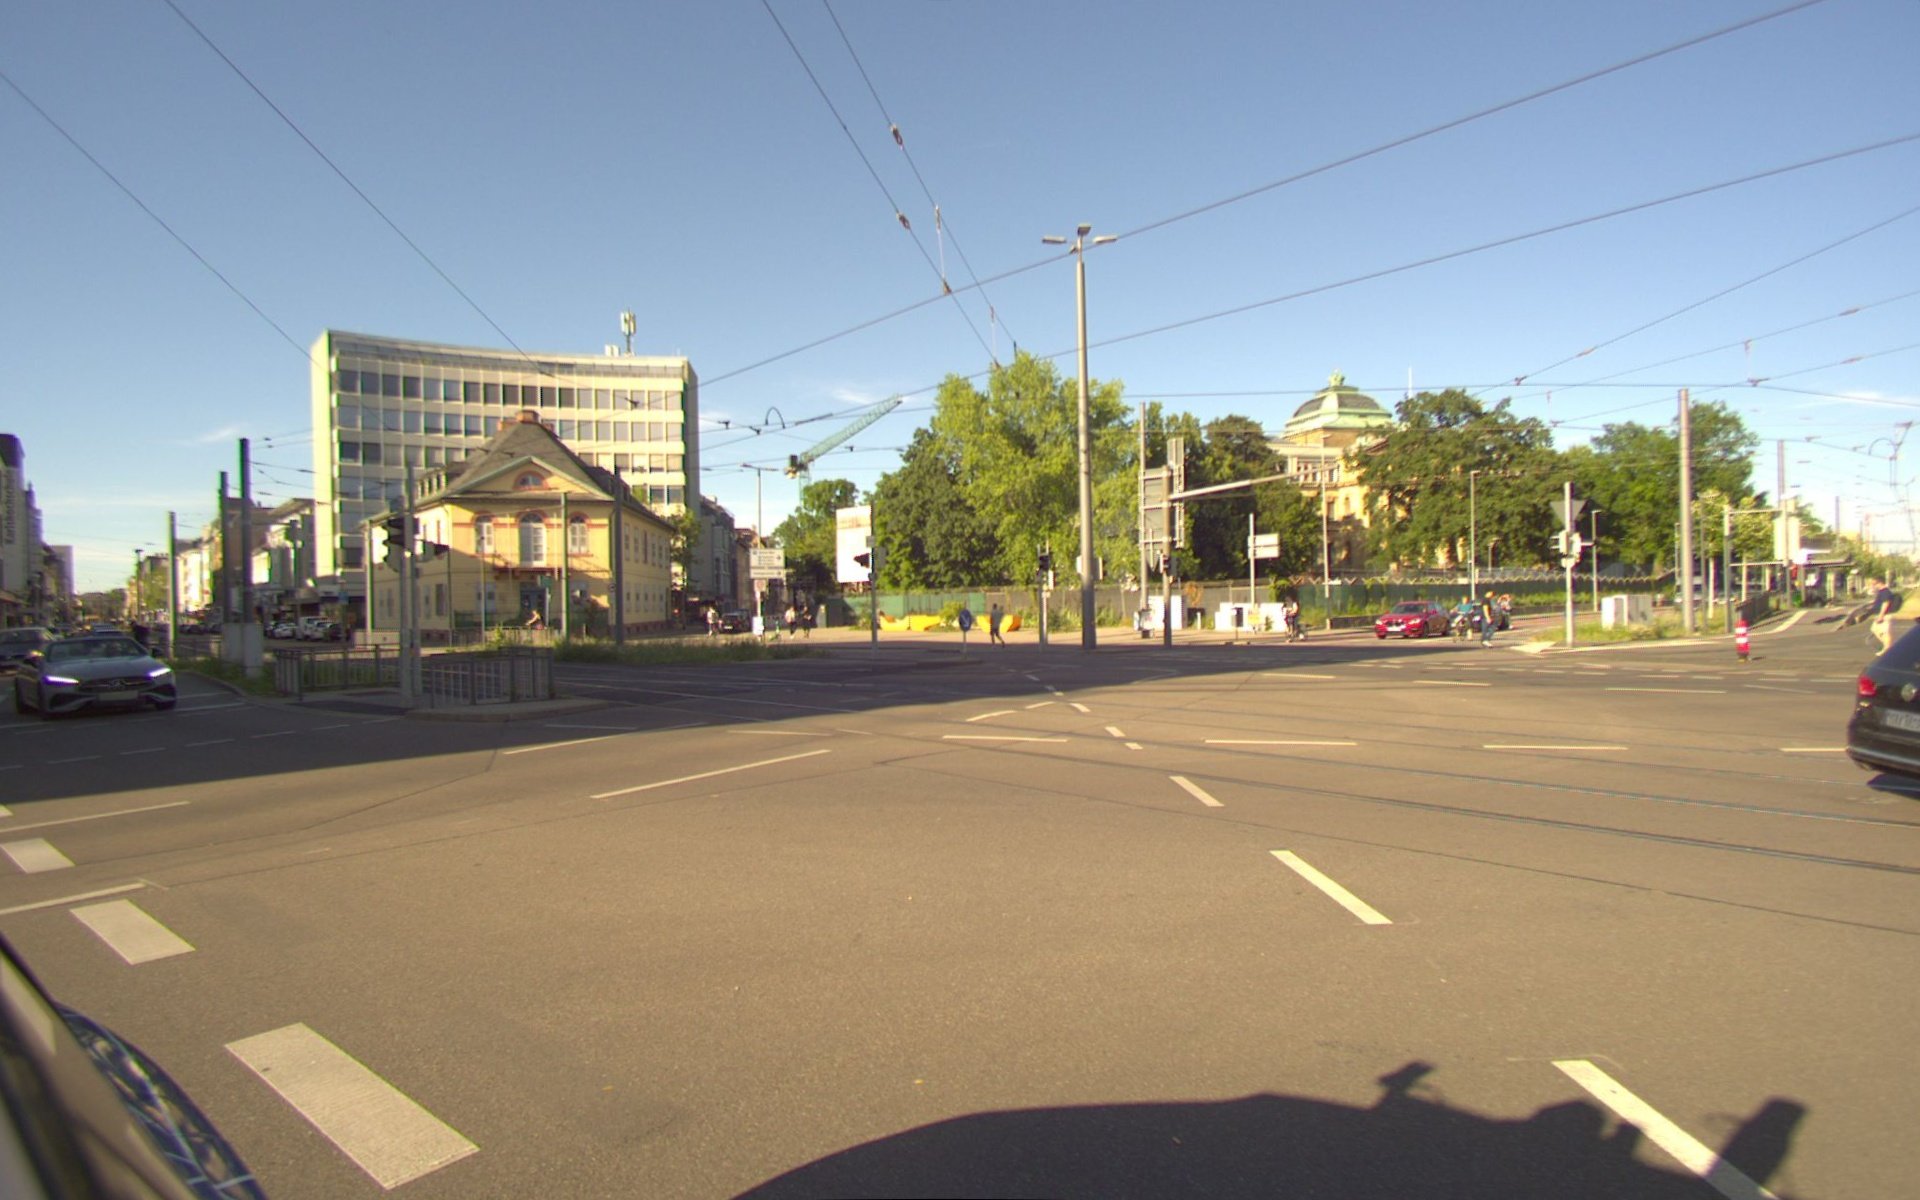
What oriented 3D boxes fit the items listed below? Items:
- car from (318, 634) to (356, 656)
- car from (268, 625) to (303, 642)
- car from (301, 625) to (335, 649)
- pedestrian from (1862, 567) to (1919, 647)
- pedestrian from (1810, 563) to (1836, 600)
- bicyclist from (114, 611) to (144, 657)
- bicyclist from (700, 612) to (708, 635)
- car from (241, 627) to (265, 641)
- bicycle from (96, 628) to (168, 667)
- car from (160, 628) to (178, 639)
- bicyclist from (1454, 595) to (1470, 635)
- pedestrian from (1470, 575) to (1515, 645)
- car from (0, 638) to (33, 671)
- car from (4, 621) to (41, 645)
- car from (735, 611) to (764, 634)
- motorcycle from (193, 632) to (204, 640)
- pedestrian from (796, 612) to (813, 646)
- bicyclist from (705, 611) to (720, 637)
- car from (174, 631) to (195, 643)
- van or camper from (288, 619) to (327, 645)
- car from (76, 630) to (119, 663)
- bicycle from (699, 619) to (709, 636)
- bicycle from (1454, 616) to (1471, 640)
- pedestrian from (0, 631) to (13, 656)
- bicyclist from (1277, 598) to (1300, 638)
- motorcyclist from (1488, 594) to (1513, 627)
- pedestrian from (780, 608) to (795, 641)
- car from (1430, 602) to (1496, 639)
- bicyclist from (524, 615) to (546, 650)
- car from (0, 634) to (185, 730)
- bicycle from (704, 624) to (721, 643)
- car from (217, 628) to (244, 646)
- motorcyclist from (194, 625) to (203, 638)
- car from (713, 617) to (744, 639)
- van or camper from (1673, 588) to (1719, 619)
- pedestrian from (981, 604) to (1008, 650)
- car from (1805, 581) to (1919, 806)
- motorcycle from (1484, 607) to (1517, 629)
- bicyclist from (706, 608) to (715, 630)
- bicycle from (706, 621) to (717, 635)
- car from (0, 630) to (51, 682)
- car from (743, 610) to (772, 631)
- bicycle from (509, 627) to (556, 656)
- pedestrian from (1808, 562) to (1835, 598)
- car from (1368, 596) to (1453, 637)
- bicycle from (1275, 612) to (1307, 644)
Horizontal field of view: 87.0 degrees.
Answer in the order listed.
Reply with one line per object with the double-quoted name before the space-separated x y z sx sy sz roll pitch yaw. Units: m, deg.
"car" -45.941 3.294 74.571 1.755 1.449 3.967 -4 2 -40
"car" -62.179 3.053 93.266 1.904 1.463 4.296 -4 2 -44
"car" -49.988 2.864 78.791 1.754 1.632 4.184 -4 1 -38
"pedestrian" 20.473 0.152 22.213 0.930 1.723 0.687 -1 0 45
"pedestrian" 48.224 -1.043 56.559 1.088 2.029 1.001 -2 0 41
"bicyclist" -28.487 1.151 34.697 0.634 1.534 0.674 -2 0 41
"bicyclist" -19.168 1.732 75.700 0.513 1.686 0.772 -2 0 -17
"car" -77.697 3.707 111.217 1.760 1.427 3.602 -2 0 -42
"bicycle" -28.426 1.603 34.758 0.641 1.221 1.801 -2 0 41
"car" -112.684 4.807 144.173 1.755 1.521 3.865 0 -2 -41
"bicyclist" 16.870 0.490 34.003 0.399 1.325 0.454 -2 0 35
"pedestrian" 15.155 0.284 28.802 0.713 1.948 0.801 -2 0 -19
"car" -50.007 2.850 53.160 1.754 1.581 3.967 0 -1 -40
"car" -68.433 2.365 73.913 1.756 1.676 4.170 0 -1 -40
"car" -16.843 1.776 81.277 1.775 1.682 3.760 -2 0 -4
"motorcycle" -94.444 4.490 125.528 2.154 0.933 0.593 -1 0 41
"pedestrian" -8.865 1.641 57.584 0.695 1.865 0.742 -2 0 -29
"bicyclist" -14.009 1.363 57.231 0.654 1.465 0.733 -2 0 -23
"car" -99.270 4.731 129.582 1.755 1.521 4.675 0 -2 -42
"van or camper" -53.711 2.589 83.230 1.931 1.988 4.804 -4 2 -41
"car" -47.978 2.563 56.348 1.756 1.676 3.967 0 -1 -40
"bicycle" -19.143 2.059 75.653 0.522 1.223 1.891 -2 0 -17
"bicycle" 16.877 0.928 33.979 0.319 0.769 1.162 -2 0 35
"pedestrian" -72.221 3.286 76.582 0.727 1.831 0.749 -2 0 -43
"bicyclist" 12.621 0.681 38.862 0.609 1.504 0.608 -2 0 40
"motorcyclist" 26.208 0.504 49.063 0.782 1.535 0.910 -1 0 44
"pedestrian" -9.747 1.362 57.099 0.586 1.831 0.707 -2 0 -29
"car" 22.380 0.896 45.001 1.576 1.483 3.659 -1 0 44
"bicyclist" -20.340 1.551 48.413 0.795 1.661 0.590 0 0 2
"car" -16.037 1.402 18.588 4.770 1.450 1.846 -1 0 40
"bicycle" -13.959 1.867 57.114 0.640 1.021 1.891 -2 0 -21
"car" -70.538 3.587 97.834 1.664 1.572 4.128 -2 0 -41
"motorcyclist" -94.411 3.930 125.447 0.884 1.570 0.645 -2 0 41
"car" -16.121 1.908 70.593 1.625 1.357 3.764 -2 0 -5
"van or camper" 51.227 0.210 70.424 1.981 2.016 4.294 -1 0 44
"pedestrian" 1.315 1.028 38.326 0.705 1.701 0.618 -4 -1 39
"car" 8.482 0.534 6.379 4.479 1.455 1.765 -2 0 10
"motorcycle" 26.207 0.858 49.051 0.791 0.992 2.332 -1 0 44
"bicyclist" -20.045 1.538 81.377 0.514 1.686 0.771 -2 0 -4
"bicycle" -20.019 2.265 81.465 0.523 1.021 1.887 -2 0 -4
"car" -32.861 1.900 35.180 1.711 1.676 3.967 0 -1 -40
"car" -17.236 1.744 86.280 1.776 1.682 3.757 -2 0 -1
"bicycle" -20.463 1.970 48.429 2.000 1.300 0.575 -2 0 3
"pedestrian" 49.508 -1.125 58.182 0.908 2.025 0.899 -2 0 -31
"car" 17.745 0.642 39.761 1.782 1.521 4.502 -2 -2 41
"bicycle" 12.760 1.065 39.017 0.612 1.142 1.480 -2 0 41
